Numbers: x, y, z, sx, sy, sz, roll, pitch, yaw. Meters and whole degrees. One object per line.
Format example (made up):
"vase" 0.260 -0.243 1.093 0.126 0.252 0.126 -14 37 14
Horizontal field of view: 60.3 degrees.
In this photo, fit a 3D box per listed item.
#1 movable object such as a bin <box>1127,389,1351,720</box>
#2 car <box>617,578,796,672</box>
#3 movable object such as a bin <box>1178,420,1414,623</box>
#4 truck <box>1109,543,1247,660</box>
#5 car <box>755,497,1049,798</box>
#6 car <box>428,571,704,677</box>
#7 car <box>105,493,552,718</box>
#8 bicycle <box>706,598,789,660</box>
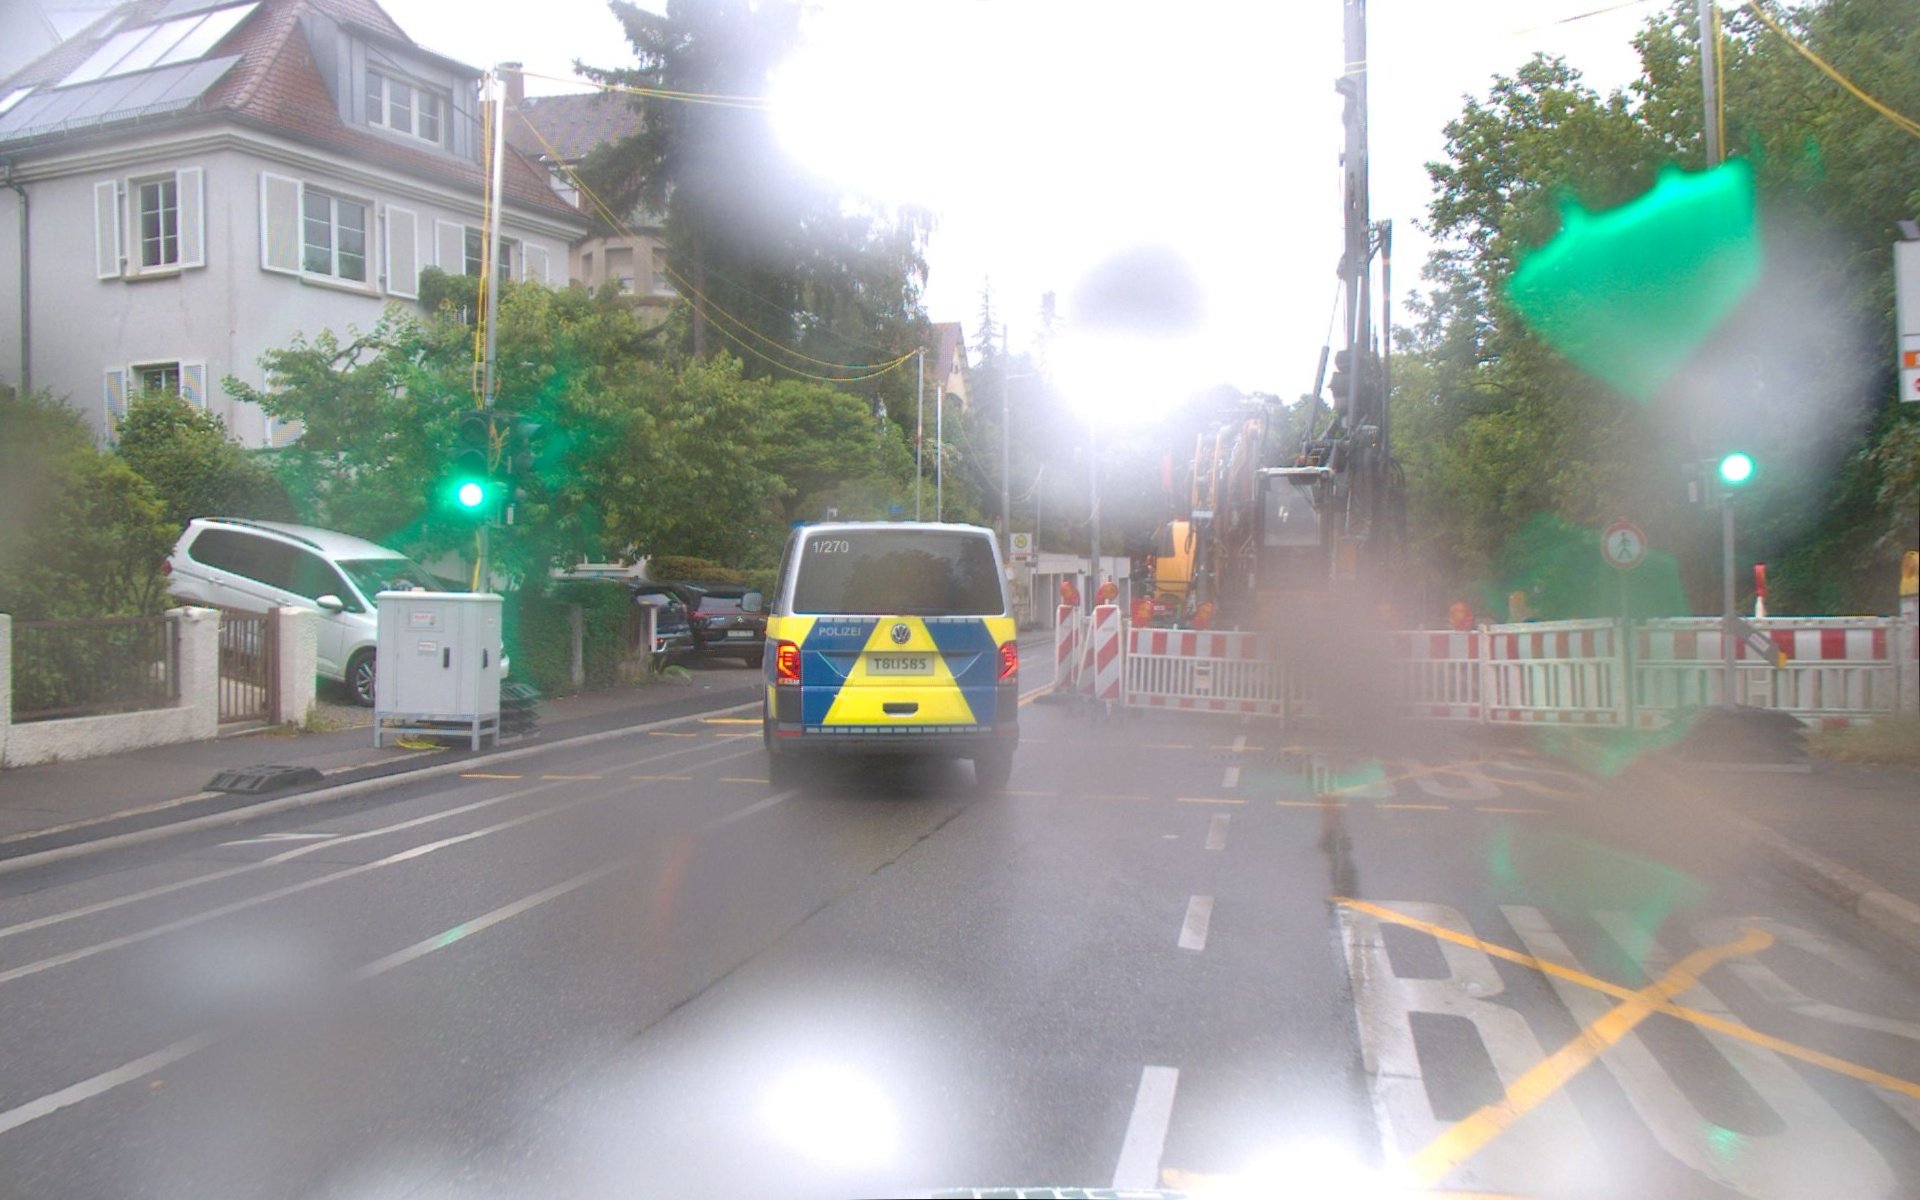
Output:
"movable object such as a bin" 4.132 -0.603 23.720 2.817 4.243 4.491 -1 1 14
"car" -4.609 0.413 29.605 1.763 1.552 3.957 2 0 -32
"movable object such as a bin" 9.487 -1.980 46.137 3.624 5.155 7.129 -1 -1 38
"truck" 4.347 0.058 32.541 2.496 2.145 3.306 -1 -1 10
"car" -0.657 0.350 13.615 1.872 2.046 4.430 1 -1 -9
"car" -6.366 0.370 26.813 3.904 1.552 1.941 1 -1 20
"car" -7.550 -0.003 19.744 4.869 1.642 1.864 12 5 21
"bicycle" -4.126 0.556 32.053 1.586 1.151 0.443 1 -1 24
